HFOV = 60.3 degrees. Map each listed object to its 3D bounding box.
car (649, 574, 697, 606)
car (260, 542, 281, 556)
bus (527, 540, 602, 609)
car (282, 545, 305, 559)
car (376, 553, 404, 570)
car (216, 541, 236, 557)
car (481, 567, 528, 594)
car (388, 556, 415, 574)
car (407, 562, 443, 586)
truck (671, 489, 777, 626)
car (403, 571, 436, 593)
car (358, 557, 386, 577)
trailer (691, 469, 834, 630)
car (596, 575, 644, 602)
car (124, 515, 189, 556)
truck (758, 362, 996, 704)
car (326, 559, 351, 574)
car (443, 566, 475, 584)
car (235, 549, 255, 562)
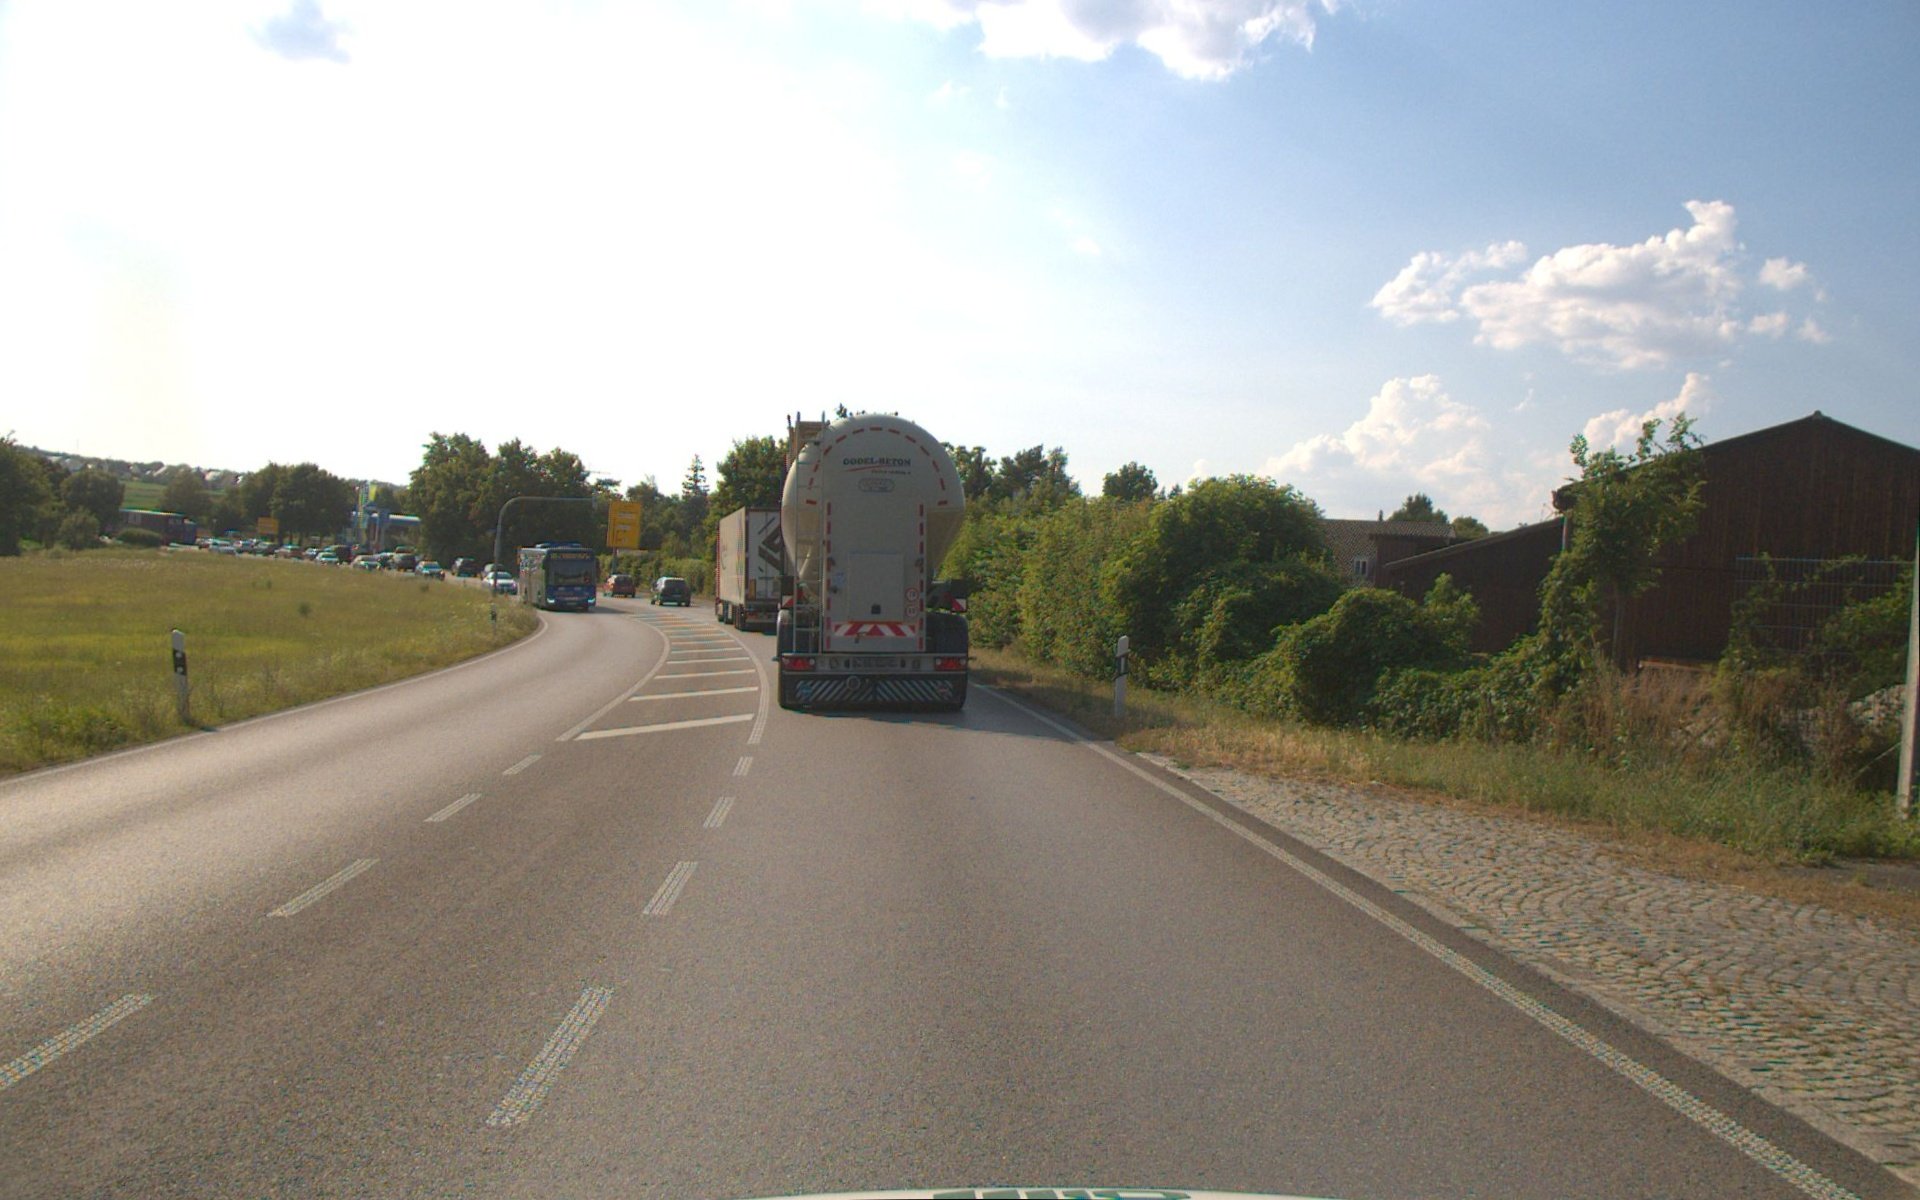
[{"bbox_3d":[-16.217,-0.539,93.319,1.964,1.685,3.977,2,-1,-20],"label":"car"},{"bbox_3d":[-83.550,-6.153,200.284,1.862,1.627,3.961,2,0,-30],"label":"car"},{"bbox_3d":[-20.463,-1.204,85.048,2.751,3.237,12.064,2,-1,-18],"label":"bus"},{"bbox_3d":[-79.020,-5.678,196.069,1.864,1.627,3.955,2,1,-33],"label":"car"},{"bbox_3d":[-59.976,-4.045,173.938,2.063,1.627,3.960,2,0,-30],"label":"car"},{"bbox_3d":[-85.558,-5.971,192.768,1.821,1.685,3.961,2,-1,-29],"label":"car"},{"bbox_3d":[-29.621,-1.260,107.537,1.825,1.685,3.953,2,-1,-34],"label":"car"},{"bbox_3d":[-56.246,-3.533,166.514,1.862,1.627,3.961,2,0,-30],"label":"car"},{"bbox_3d":[-40.205,-1.958,124.248,1.820,1.685,3.963,2,-1,-28],"label":"car"},{"bbox_3d":[-9.219,-1.542,64.051,2.917,4.972,6.398,2,-1,-18],"label":"truck"},{"bbox_3d":[-43.336,-1.426,132.679,1.820,1.685,3.963,2,-1,-28],"label":"car"},{"bbox_3d":[-54.316,-3.079,152.686,1.968,1.755,4.391,1,1,-25],"label":"car"},{"bbox_3d":[-6.976,-1.565,56.927,2.918,4.967,10.236,2,-1,-18],"label":"trailer"},{"bbox_3d":[-22.512,-0.740,109.433,2.268,1.685,4.384,2,-1,-23],"label":"car"},{"bbox_3d":[-107.971,-8.667,222.090,13.017,5.147,3.529,2,1,44],"label":"car"},{"bbox_3d":[-1.541,-0.788,26.792,2.918,4.248,11.649,1,-1,-5],"label":"truck"},{"bbox_3d":[-69.164,-3.748,184.031,2.063,1.627,3.960,2,0,-30],"label":"car"},{"bbox_3d":[-47.736,-2.398,157.520,2.063,1.627,3.960,2,0,-30],"label":"car"},{"bbox_3d":[-89.367,-5.563,206.755,1.862,1.627,3.961,2,0,-30],"label":"car"}]
